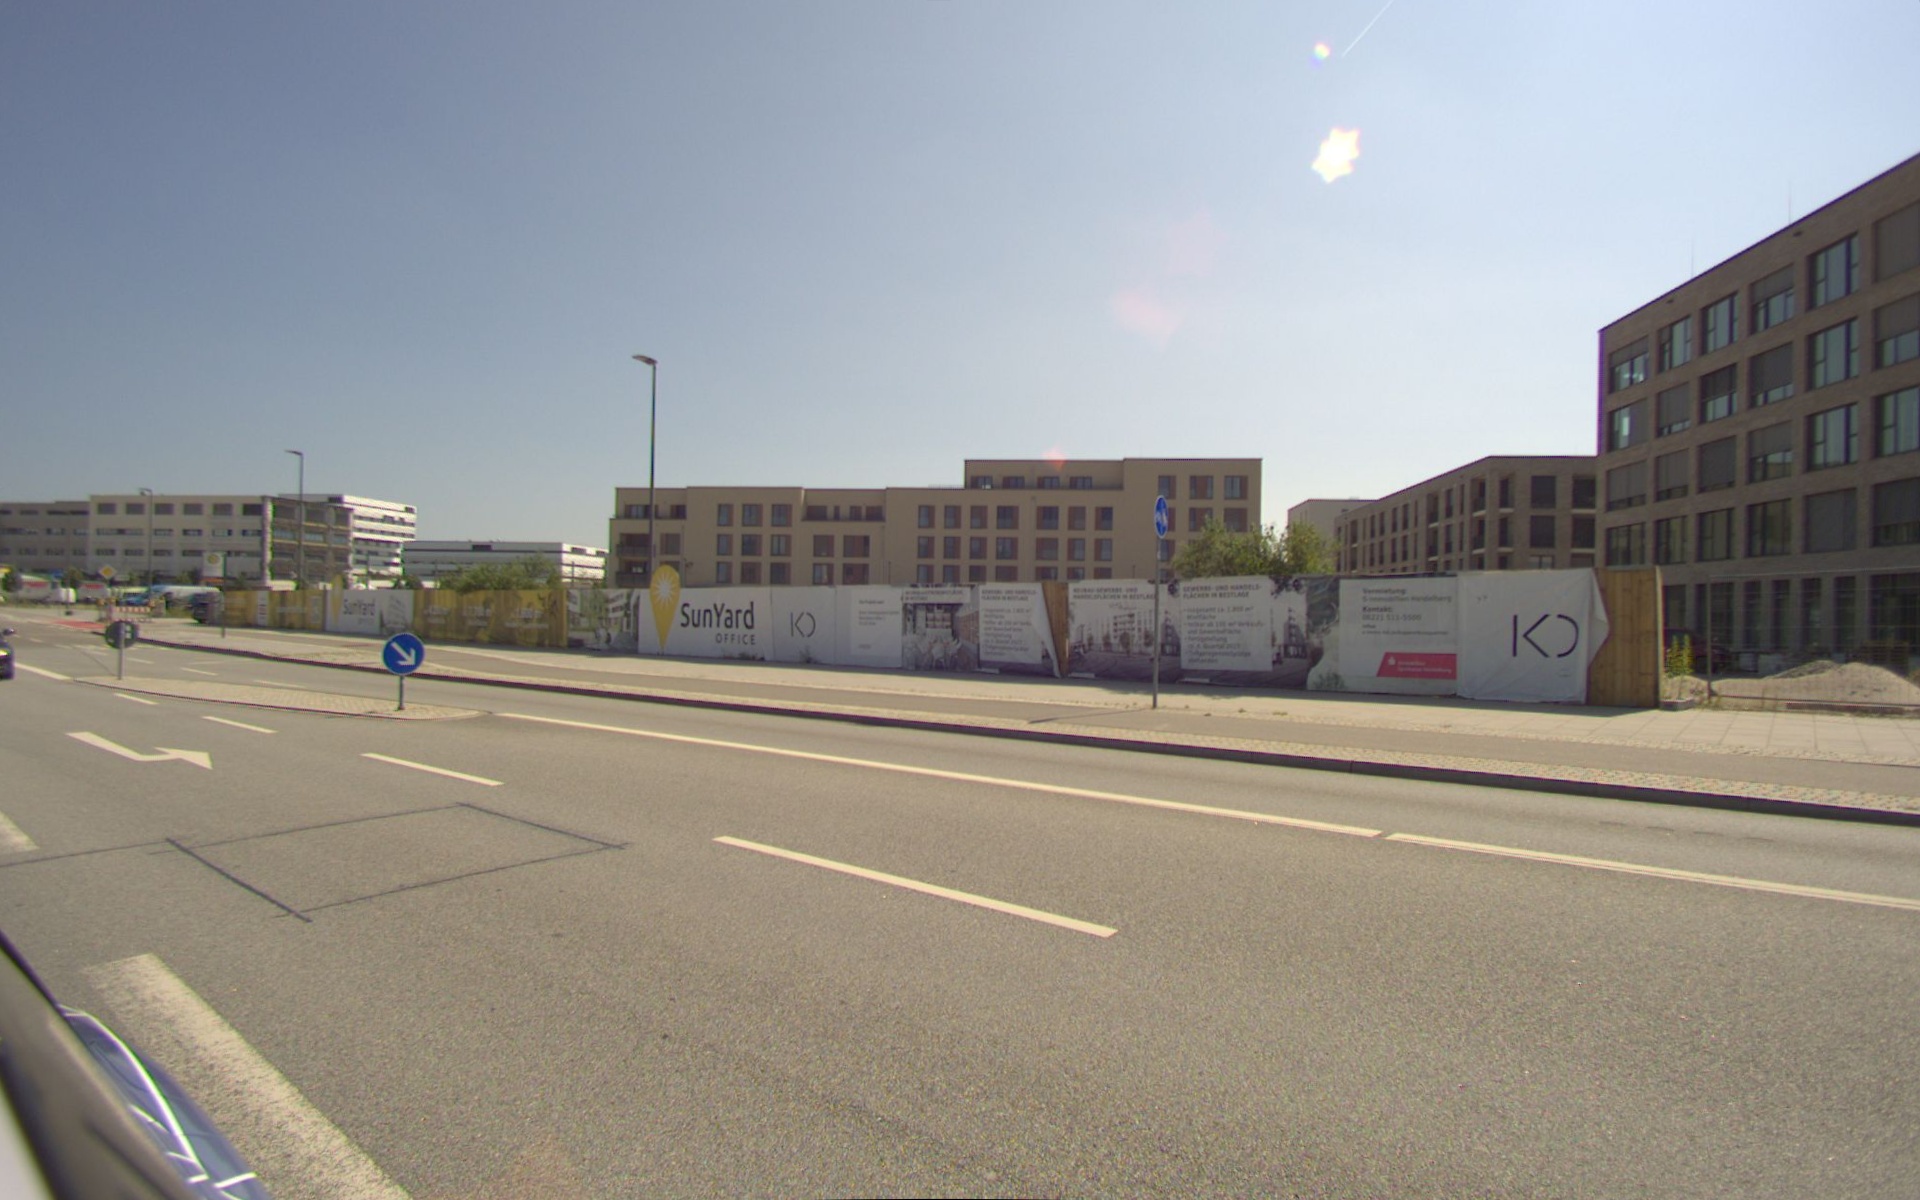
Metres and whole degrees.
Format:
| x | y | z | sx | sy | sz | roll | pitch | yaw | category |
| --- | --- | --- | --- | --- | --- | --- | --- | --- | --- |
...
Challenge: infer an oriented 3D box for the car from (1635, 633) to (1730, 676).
| x | y | z | sx | sy | sz | roll | pitch | yaw | category |
| --- | --- | --- | --- | --- | --- | --- | --- | --- | --- |
| 32.020 | 2.381 | 44.971 | 1.814 | 1.666 | 3.772 | -1 | 0 | 7 | car |

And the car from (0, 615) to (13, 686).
| x | y | z | sx | sy | sz | roll | pitch | yaw | category |
| --- | --- | --- | --- | --- | --- | --- | --- | --- | --- |
| -21.499 | 1.050 | 21.467 | 3.998 | 1.422 | 1.688 | 0 | 1 | 41 | car |

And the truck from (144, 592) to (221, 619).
| x | y | z | sx | sy | sz | roll | pitch | yaw | category |
| --- | --- | --- | --- | --- | --- | --- | --- | --- | --- |
| -67.073 | 0.431 | 87.333 | 1.998 | 2.245 | 4.942 | 0 | 1 | 39 | truck |

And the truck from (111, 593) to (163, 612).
| x | y | z | sx | sy | sz | roll | pitch | yaw | category |
| --- | --- | --- | --- | --- | --- | --- | --- | --- | --- |
| -114.904 | 0.315 | 141.378 | 1.996 | 2.494 | 5.270 | 0 | 1 | 36 | truck |

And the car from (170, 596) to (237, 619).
| x | y | z | sx | sy | sz | roll | pitch | yaw | category |
| --- | --- | --- | --- | --- | --- | --- | --- | --- | --- |
| -60.323 | 0.610 | 80.760 | 1.888 | 1.731 | 3.885 | 0 | 1 | 35 | car |

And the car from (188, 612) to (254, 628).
| x | y | z | sx | sy | sz | roll | pitch | yaw | category |
| --- | --- | --- | --- | --- | --- | --- | --- | --- | --- |
| -48.413 | 1.280 | 66.334 | 1.293 | 0.960 | 3.315 | 0 | 1 | 43 | car |

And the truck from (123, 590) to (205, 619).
| x | y | z | sx | sy | sz | roll | pitch | yaw | category |
| --- | --- | --- | --- | --- | --- | --- | --- | --- | --- |
| -72.549 | 0.396 | 92.297 | 1.996 | 2.494 | 5.567 | 0 | 1 | 36 | truck |
